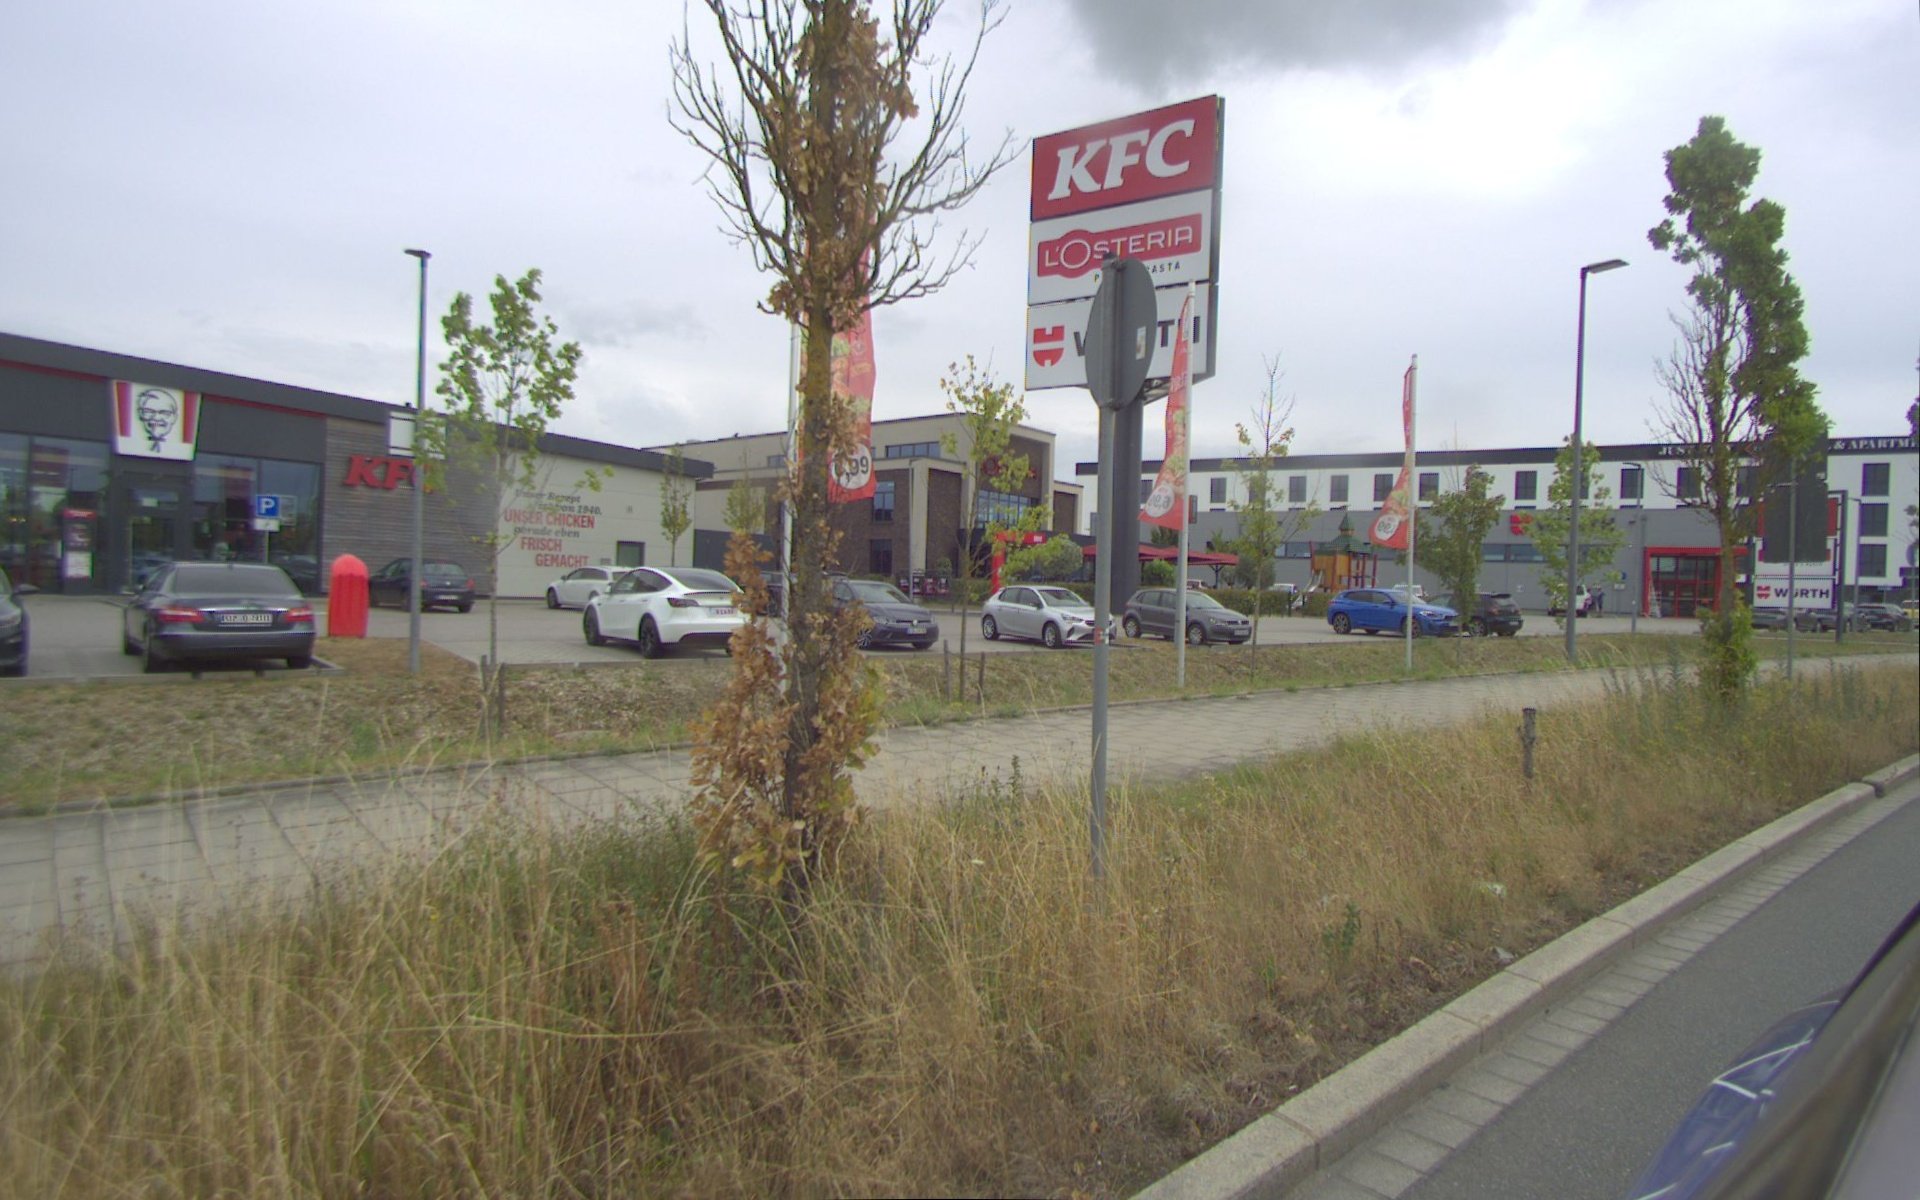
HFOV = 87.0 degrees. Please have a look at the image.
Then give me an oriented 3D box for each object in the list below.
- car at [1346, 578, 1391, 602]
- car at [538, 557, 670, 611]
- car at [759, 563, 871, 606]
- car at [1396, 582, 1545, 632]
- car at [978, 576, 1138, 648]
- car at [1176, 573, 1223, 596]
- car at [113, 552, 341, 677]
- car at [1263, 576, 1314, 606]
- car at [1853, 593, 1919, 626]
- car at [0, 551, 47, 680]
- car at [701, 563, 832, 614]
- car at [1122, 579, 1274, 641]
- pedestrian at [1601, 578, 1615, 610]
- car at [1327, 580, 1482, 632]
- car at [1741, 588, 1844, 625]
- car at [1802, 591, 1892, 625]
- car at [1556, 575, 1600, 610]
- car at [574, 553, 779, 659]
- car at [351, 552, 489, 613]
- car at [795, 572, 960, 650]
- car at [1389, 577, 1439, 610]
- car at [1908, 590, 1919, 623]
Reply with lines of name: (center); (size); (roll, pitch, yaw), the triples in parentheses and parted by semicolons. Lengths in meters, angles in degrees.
car: (27.774, -0.696, 68.688); (2.065, 1.537, 4.525); (3, 2, 32)
car: (-11.525, -0.539, 32.600); (4.559, 1.537, 2.050); (3, 2, 41)
car: (-5.883, -0.662, 40.755); (4.556, 1.537, 1.870); (3, 2, 40)
car: (16.811, 0.195, 33.517); (1.941, 1.512, 4.006); (1, 1, -28)
car: (2.334, 0.231, 24.935); (1.866, 1.499, 3.877); (0, 3, -34)
car: (17.627, -1.133, 74.358); (2.065, 1.537, 4.525); (3, 2, 32)
car: (-10.505, 0.105, 14.358); (1.998, 1.487, 4.521); (1, 1, -44)
car: (19.586, -0.539, 60.191); (1.970, 1.649, 4.279); (2, 1, 31)
car: (46.105, 0.431, 49.943); (4.521, 1.515, 2.001); (-1, 2, -35)
car: (-12.857, 0.105, 12.621); (4.085, 1.456, 1.912); (3, 2, 44)
car: (-6.655, -0.426, 34.633); (4.556, 1.537, 1.949); (3, 2, 40)
car: (6.359, 0.214, 27.400); (1.853, 1.512, 3.773); (1, 1, -32)
pedestrian: (39.255, -0.359, 61.326); (0.608, 1.892, 0.795); (1, 0, 25)
car: (14.309, 0.148, 32.793); (1.926, 1.539, 4.281); (1, 1, -30)
car: (36.094, 0.279, 43.869); (4.735, 1.478, 1.970); (1, 1, -31)
car: (40.898, 0.363, 46.626); (4.785, 1.455, 1.871); (1, 1, -33)
car: (37.762, -0.465, 61.963); (1.982, 2.012, 4.590); (2, 1, 28)
car: (-5.477, 0.019, 19.139); (2.051, 1.665, 4.573); (0, 3, -39)
car: (-15.587, -0.541, 29.142); (4.358, 1.537, 2.018); (3, 2, 40)
car: (-1.947, 0.171, 22.683); (1.904, 1.503, 4.001); (0, 2, -36)
car: (25.342, -0.381, 56.371); (1.984, 1.718, 4.739); (2, 1, 31)
car: (51.449, 0.369, 53.337); (4.335, 1.707, 1.765); (1, 1, -42)
